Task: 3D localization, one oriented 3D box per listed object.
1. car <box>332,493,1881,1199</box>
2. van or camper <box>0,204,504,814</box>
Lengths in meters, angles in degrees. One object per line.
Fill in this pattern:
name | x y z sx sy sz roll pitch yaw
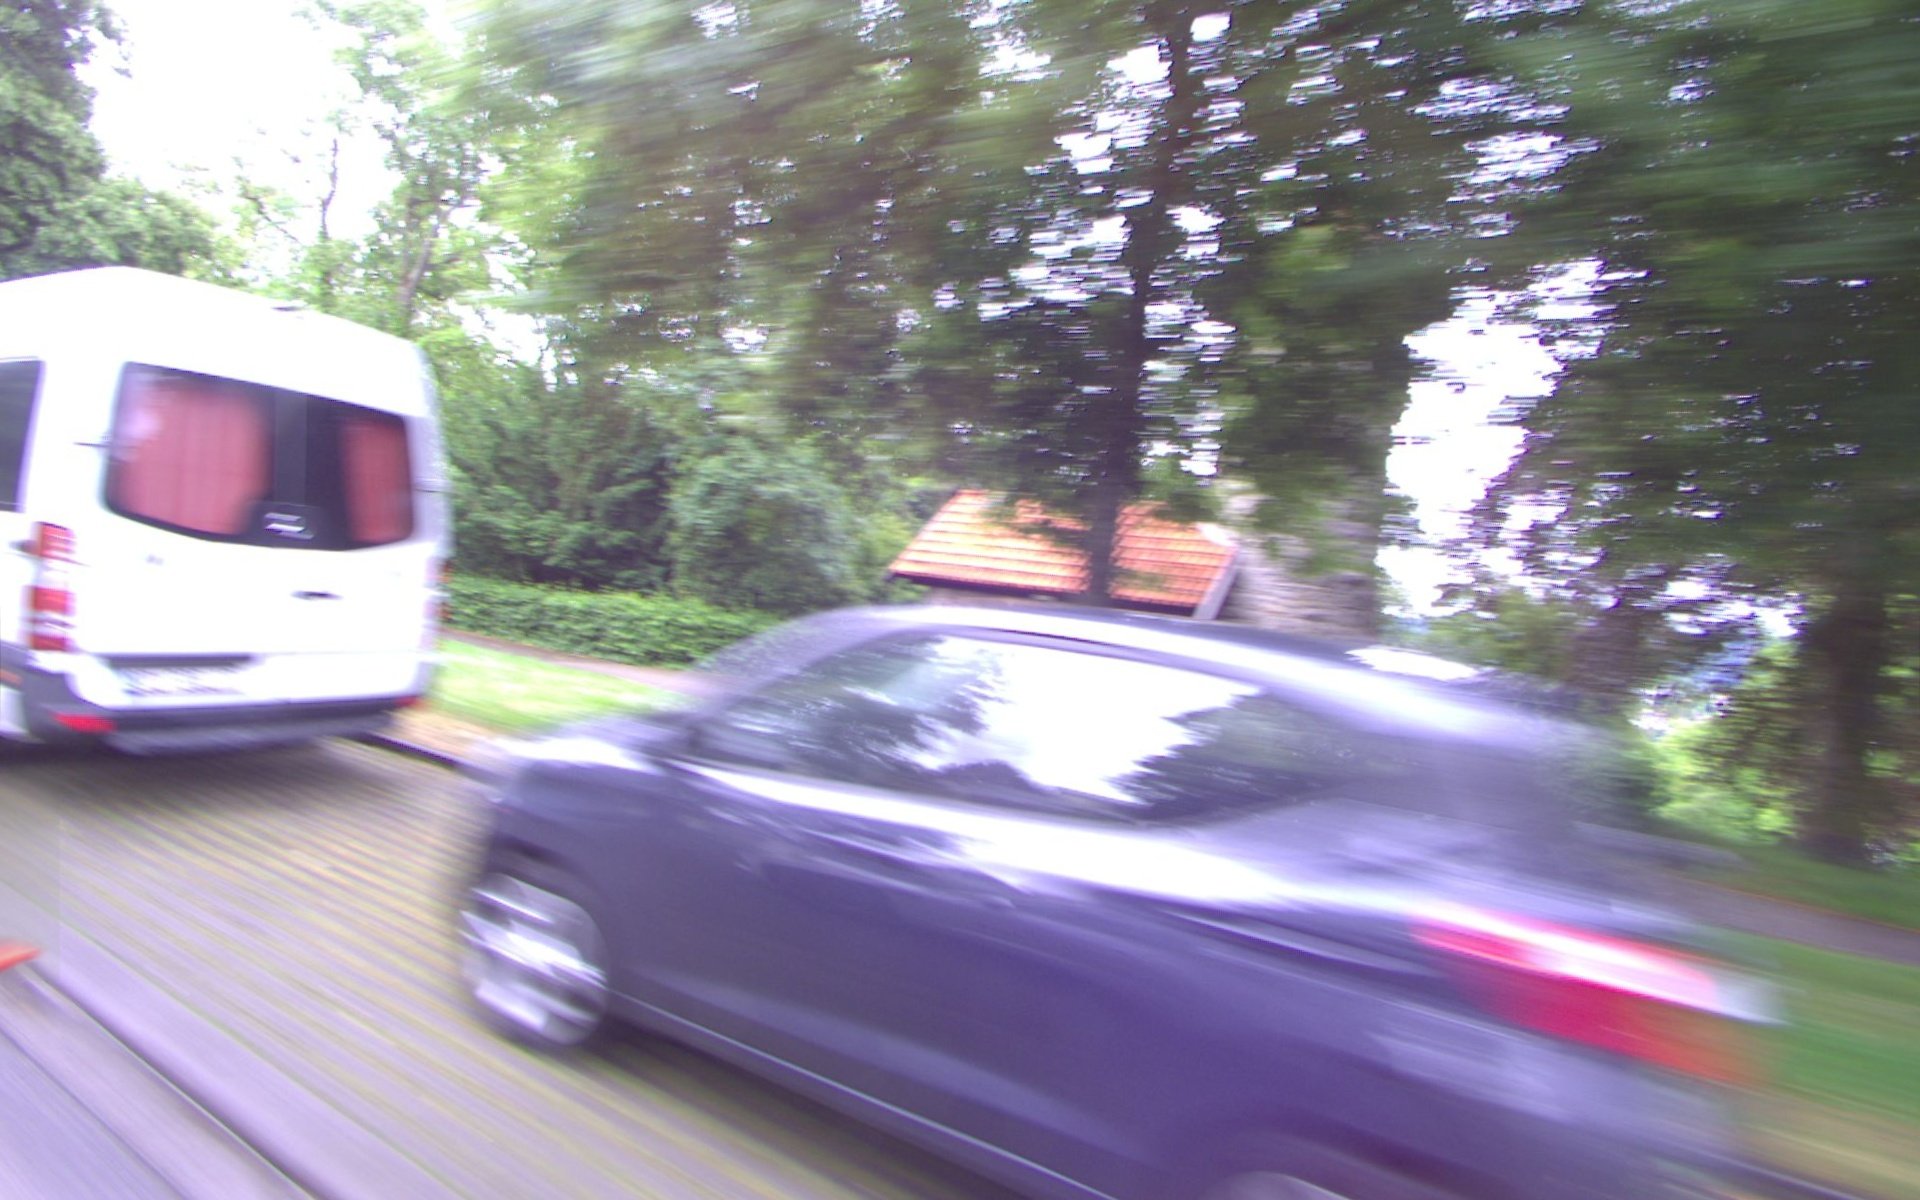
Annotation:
car | 0.062 0.674 3.135 3.661 1.531 1.867 8 2 30
van or camper | -6.894 -0.834 7.284 8.292 2.618 2.017 8 3 30
